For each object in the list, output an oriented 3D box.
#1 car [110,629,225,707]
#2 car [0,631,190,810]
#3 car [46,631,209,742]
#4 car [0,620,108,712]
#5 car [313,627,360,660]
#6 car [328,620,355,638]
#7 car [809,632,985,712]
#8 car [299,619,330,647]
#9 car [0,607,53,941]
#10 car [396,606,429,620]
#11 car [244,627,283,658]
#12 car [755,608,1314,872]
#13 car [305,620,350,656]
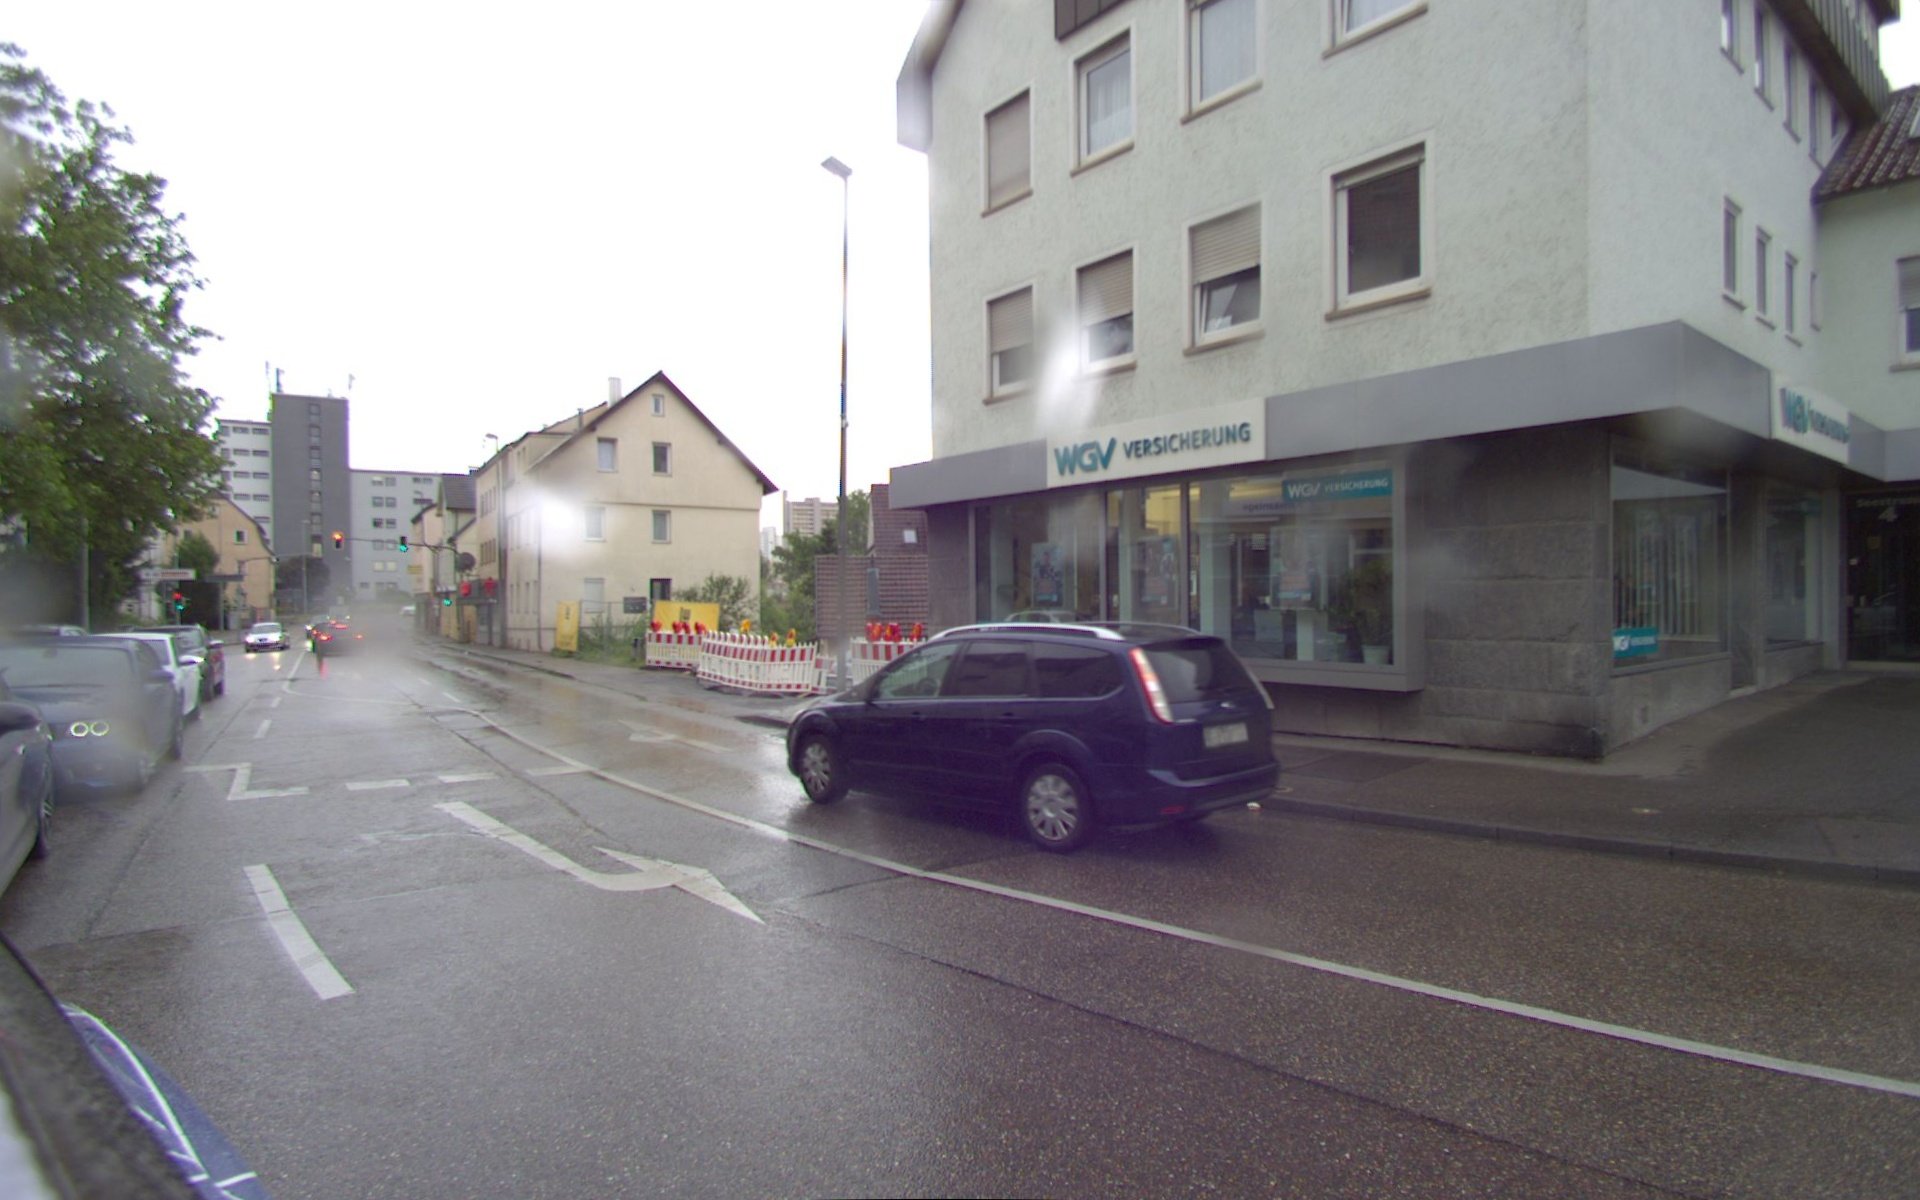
[{"bbox_3d":[-17.216,1.407,22.135,1.659,1.472,4.010,-1,-1,-34],"label":"car"},{"bbox_3d":[-8.733,1.031,9.875,1.615,1.443,3.816,1,-2,-33],"label":"car"},{"bbox_3d":[-12.814,1.232,15.789,1.660,1.432,4.010,-1,-1,-35],"label":"car"},{"bbox_3d":[-20.091,1.351,21.744,1.904,1.794,4.748,0,-2,-30],"label":"car"},{"bbox_3d":[-28.310,1.940,45.918,1.684,1.394,3.679,-1,-1,-33],"label":"car"},{"bbox_3d":[-58.101,2.681,95.081,1.763,1.577,3.848,-1,-1,-26],"label":"car"},{"bbox_3d":[-1.301,1.590,21.782,3.456,1.401,1.653,10,-10,-41],"label":"car"},{"bbox_3d":[-46.672,2.373,73.117,1.764,1.866,3.845,-1,-1,-34],"label":"car"},{"bbox_3d":[-5.652,0.858,4.736,1.792,1.583,4.284,-1,-1,-38],"label":"car"},{"bbox_3d":[-63.069,1.476,116.687,1.717,1.577,3.834,-2,-1,1],"label":"car"},{"bbox_3d":[-37.981,2.290,55.238,1.589,1.515,3.728,-2,0,-33],"label":"car"},{"bbox_3d":[0.344,0.893,7.961,4.274,1.522,1.713,-2,-3,44],"label":"car"},{"bbox_3d":[-32.101,1.912,51.344,1.791,1.657,4.287,-1,-1,-34],"label":"car"}]
